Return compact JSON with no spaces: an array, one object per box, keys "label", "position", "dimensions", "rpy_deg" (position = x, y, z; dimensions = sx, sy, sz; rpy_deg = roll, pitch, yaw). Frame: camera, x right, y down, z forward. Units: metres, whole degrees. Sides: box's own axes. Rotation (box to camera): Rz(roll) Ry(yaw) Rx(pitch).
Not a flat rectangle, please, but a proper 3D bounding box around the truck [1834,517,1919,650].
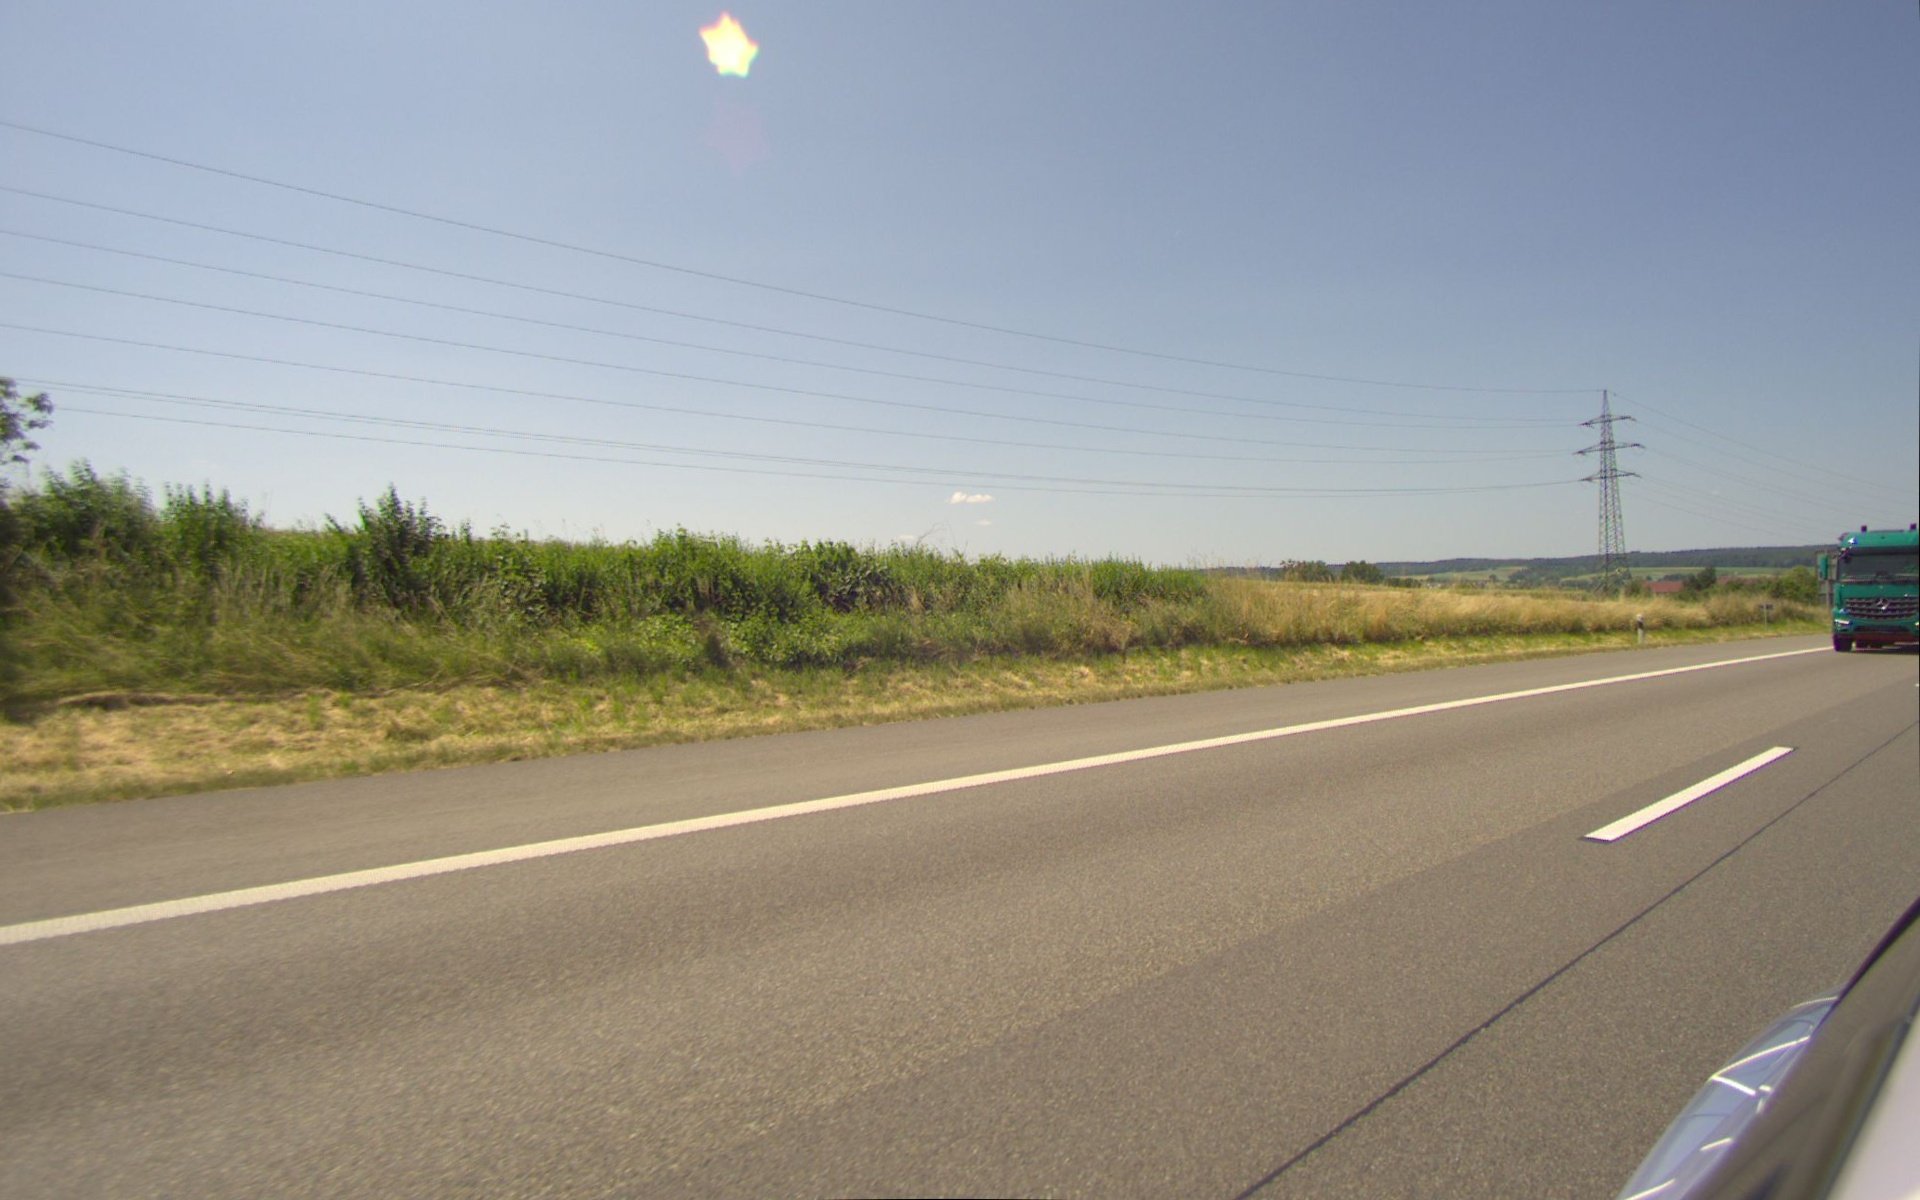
[{"label":"truck","position":[31.804,-0.486,33.311],"dimensions":[12.539,3.771,2.870],"rpy_deg":[0,0,-41]}]
